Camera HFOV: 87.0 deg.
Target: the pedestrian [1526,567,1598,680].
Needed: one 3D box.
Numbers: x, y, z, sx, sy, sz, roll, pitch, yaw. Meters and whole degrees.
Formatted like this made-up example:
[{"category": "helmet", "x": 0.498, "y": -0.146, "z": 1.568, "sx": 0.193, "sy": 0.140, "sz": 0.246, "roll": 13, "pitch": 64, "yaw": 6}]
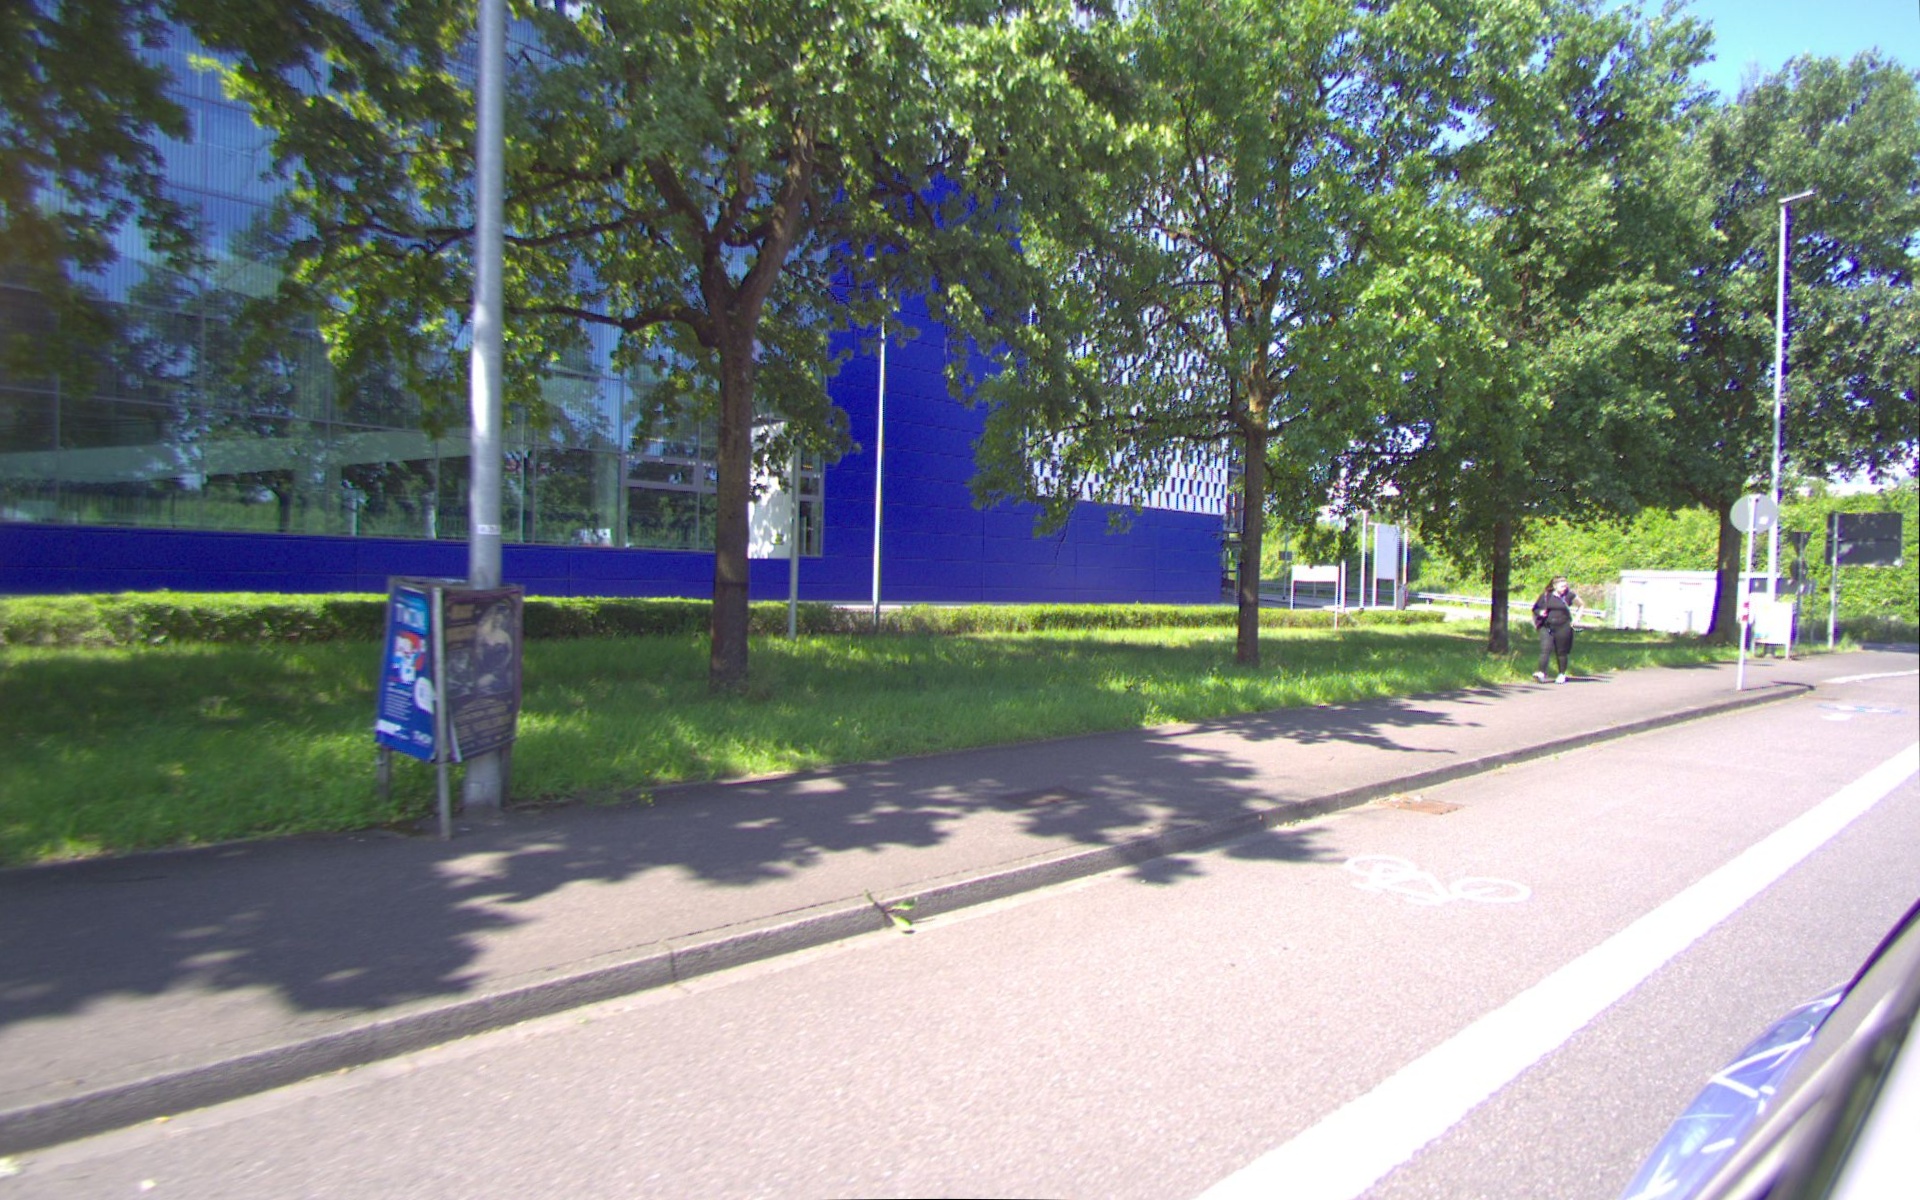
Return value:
[{"category": "pedestrian", "x": 9.039, "y": 0.335, "z": 15.191, "sx": 0.831, "sy": 1.623, "sz": 0.648, "roll": 1, "pitch": 1, "yaw": -39}]
